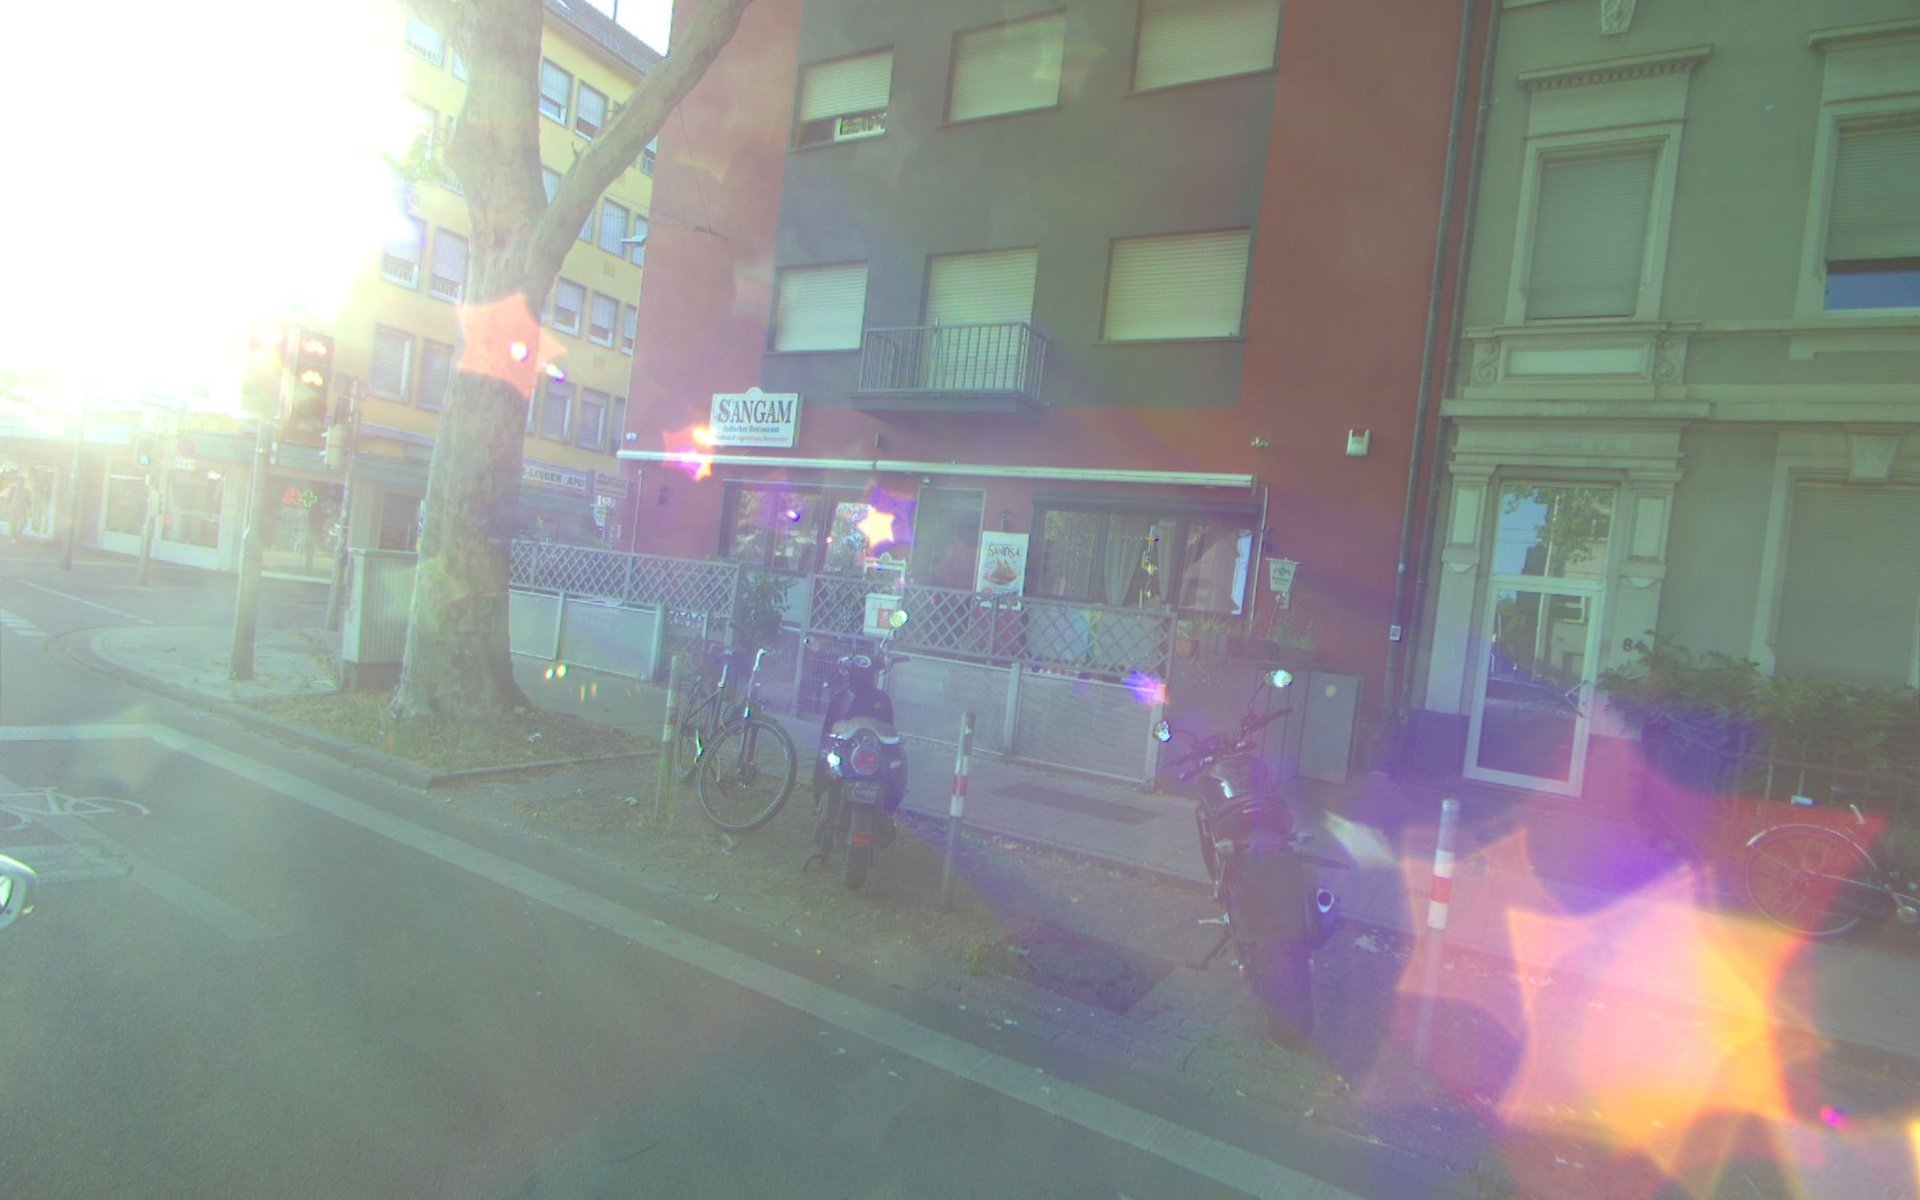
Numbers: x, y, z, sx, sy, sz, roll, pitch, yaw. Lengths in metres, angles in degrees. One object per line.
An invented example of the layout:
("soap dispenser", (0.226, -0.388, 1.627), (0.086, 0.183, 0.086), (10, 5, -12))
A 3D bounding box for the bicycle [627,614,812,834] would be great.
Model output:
("bicycle", (-1.697, 0.772, 6.859), (0.614, 1.126, 1.784), (5, 3, -31))

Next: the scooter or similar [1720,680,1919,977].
("scooter or similar", (5.782, 1.346, 5.417), (2.502, 1.488, 0.665), (7, 1, 32))

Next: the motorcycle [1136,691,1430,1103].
("motorcycle", (1.318, 1.140, 4.625), (0.651, 1.125, 2.212), (7, 2, 4))

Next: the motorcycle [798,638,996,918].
("motorcycle", (-0.445, 0.901, 5.737), (0.772, 1.126, 1.885), (6, 2, -11))

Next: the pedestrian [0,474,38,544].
("pedestrian", (-25.791, -2.486, 27.358), (0.880, 1.802, 0.744), (6, 1, 31))

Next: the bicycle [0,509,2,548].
("bicycle", (-23.348, -1.701, 23.136), (0.531, 1.021, 1.800), (7, 2, 28))
